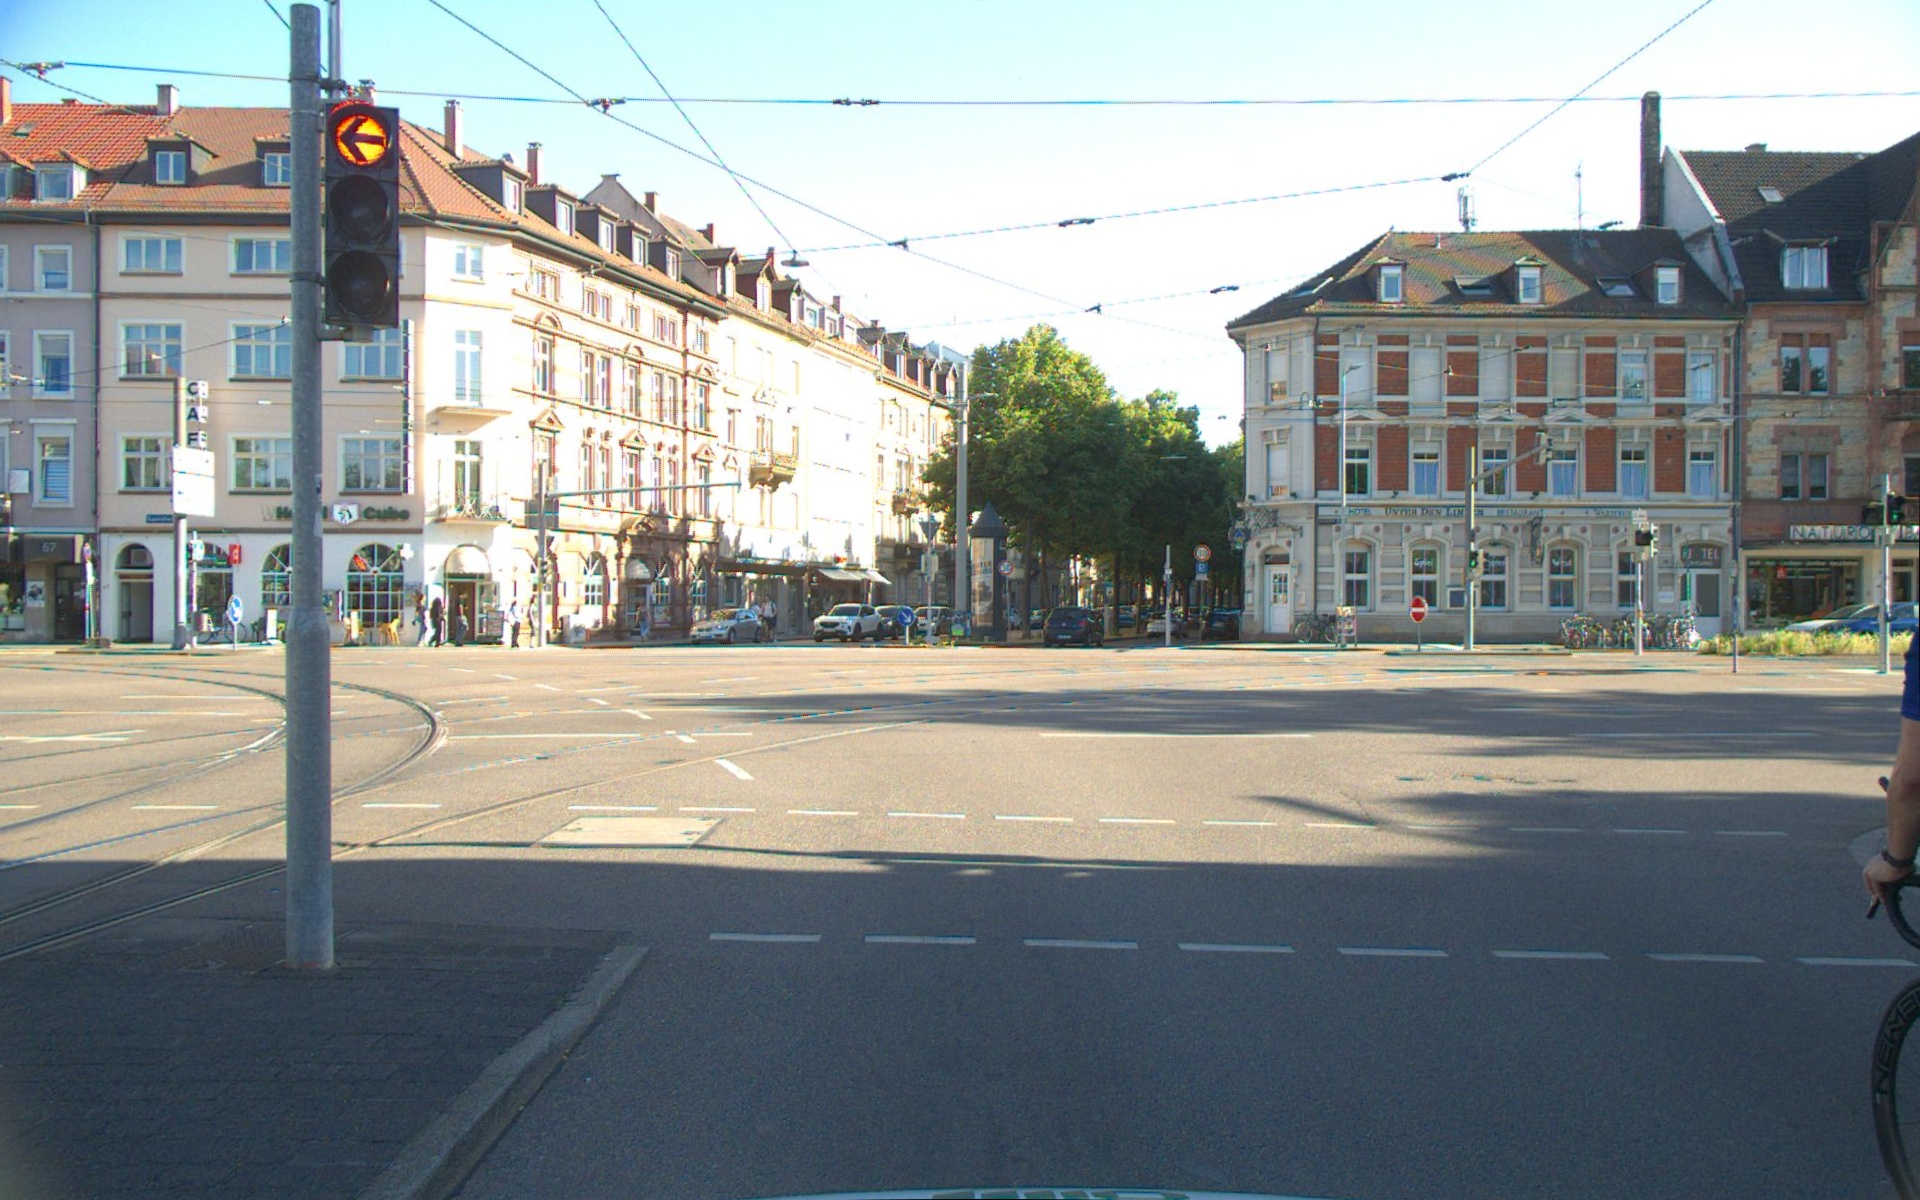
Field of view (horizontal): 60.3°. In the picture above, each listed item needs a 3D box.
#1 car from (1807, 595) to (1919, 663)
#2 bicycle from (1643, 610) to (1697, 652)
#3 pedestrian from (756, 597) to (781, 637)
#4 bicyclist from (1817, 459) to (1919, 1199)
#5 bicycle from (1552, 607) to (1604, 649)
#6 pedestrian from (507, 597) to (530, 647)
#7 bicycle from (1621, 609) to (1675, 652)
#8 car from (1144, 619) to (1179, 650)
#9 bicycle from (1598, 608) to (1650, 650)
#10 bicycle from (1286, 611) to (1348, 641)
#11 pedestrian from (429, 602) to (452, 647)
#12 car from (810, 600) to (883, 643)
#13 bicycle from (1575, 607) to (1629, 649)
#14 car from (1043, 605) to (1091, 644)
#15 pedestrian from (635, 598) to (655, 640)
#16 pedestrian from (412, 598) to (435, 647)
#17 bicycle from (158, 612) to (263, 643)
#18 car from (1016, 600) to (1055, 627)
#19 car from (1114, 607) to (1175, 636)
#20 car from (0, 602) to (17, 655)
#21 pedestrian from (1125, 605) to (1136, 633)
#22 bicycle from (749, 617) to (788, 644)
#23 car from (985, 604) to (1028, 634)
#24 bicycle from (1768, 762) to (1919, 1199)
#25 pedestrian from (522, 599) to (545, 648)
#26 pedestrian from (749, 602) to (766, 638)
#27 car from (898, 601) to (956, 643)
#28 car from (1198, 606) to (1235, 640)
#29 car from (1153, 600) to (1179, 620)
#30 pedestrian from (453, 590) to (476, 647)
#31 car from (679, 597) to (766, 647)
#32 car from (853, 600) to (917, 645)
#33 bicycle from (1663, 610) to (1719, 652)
[{"bbox_3d":[25.935,0.801,46.049,3.706,1.809,1.999,1,0,-2],"label":"car"},{"bbox_3d":[22.802,0.976,53.174,0.615,1.309,2.661,1,0,0],"label":"bicycle"},{"bbox_3d":[-7.537,0.663,65.086,0.803,1.539,0.598,1,-1,14],"label":"pedestrian"},{"bbox_3d":[2.236,0.481,3.270,0.625,1.520,0.884,1,1,3],"label":"bicyclist"},{"bbox_3d":[19.838,0.884,53.144,0.678,1.309,2.661,1,0,0],"label":"bicycle"},{"bbox_3d":[-14.856,0.749,55.670,0.620,1.662,0.700,1,-1,-4],"label":"pedestrian"},{"bbox_3d":[22.088,0.962,53.150,0.615,1.309,2.661,1,0,0],"label":"bicycle"},{"bbox_3d":[10.612,1.797,87.205,1.734,1.557,4.003,1,0,6],"label":"car"},{"bbox_3d":[21.311,0.905,53.148,0.615,1.309,2.661,1,0,0],"label":"bicycle"},{"bbox_3d":[12.354,0.897,57.270,2.006,1.015,0.631,1,0,2],"label":"bicycle"},{"bbox_3d":[-17.229,0.813,54.872,0.620,1.502,0.465,1,-1,-5],"label":"pedestrian"},{"bbox_3d":[-4.580,0.858,67.112,1.951,1.646,4.003,1,0,11],"label":"car"},{"bbox_3d":[20.600,0.894,53.126,0.678,1.309,2.661,1,0,0],"label":"bicycle"},{"bbox_3d":[4.081,0.901,62.593,1.717,1.386,3.858,1,0,5],"label":"car"},{"bbox_3d":[-12.636,0.770,66.401,0.532,1.660,0.707,1,-1,13],"label":"pedestrian"},{"bbox_3d":[-17.937,0.754,55.323,0.620,1.640,0.465,1,-1,-5],"label":"pedestrian"},{"bbox_3d":[-25.513,0.938,56.350,3.066,0.997,1.001,1,0,-1],"label":"bicycle"},{"bbox_3d":[5.619,1.012,122.698,1.951,1.937,4.002,1,0,16],"label":"car"},{"bbox_3d":[12.855,1.458,115.151,3.902,1.937,2.001,1,0,15],"label":"car"},{"bbox_3d":[-32.382,0.909,52.429,3.902,1.699,2.002,0,0,8],"label":"car"},{"bbox_3d":[11.209,1.245,108.927,0.626,1.827,0.491,1,-1,12],"label":"pedestrian"},{"bbox_3d":[-7.525,1.203,65.157,0.746,1.025,2.398,1,0,13],"label":"bicycle"},{"bbox_3d":[3.185,1.281,112.736,1.951,1.937,4.002,1,0,16],"label":"car"},{"bbox_3d":[2.258,0.949,3.186,0.613,1.104,1.703,1,0,2],"label":"bicycle"},{"bbox_3d":[-14.666,0.799,56.952,0.620,1.662,0.700,1,-1,-4],"label":"pedestrian"},{"bbox_3d":[-9.395,0.913,76.808,0.532,1.660,0.707,1,-1,13],"label":"pedestrian"},{"bbox_3d":[-1.569,1.062,79.457,1.951,1.937,4.003,1,0,11],"label":"car"},{"bbox_3d":[12.872,1.141,82.775,1.655,1.592,3.844,1,0,11],"label":"car"},{"bbox_3d":[16.814,0.827,134.914,1.526,1.540,3.658,1,0,16],"label":"car"},{"bbox_3d":[-16.706,0.627,55.753,0.620,1.914,0.465,1,-1,-5],"label":"pedestrian"},{"bbox_3d":[-9.562,0.872,66.927,1.951,1.937,4.002,1,0,17],"label":"car"},{"bbox_3d":[-3.297,0.986,73.615,1.951,1.937,4.003,1,0,11],"label":"car"},{"bbox_3d":[23.487,0.987,53.173,0.615,1.309,2.661,1,0,0],"label":"bicycle"}]
